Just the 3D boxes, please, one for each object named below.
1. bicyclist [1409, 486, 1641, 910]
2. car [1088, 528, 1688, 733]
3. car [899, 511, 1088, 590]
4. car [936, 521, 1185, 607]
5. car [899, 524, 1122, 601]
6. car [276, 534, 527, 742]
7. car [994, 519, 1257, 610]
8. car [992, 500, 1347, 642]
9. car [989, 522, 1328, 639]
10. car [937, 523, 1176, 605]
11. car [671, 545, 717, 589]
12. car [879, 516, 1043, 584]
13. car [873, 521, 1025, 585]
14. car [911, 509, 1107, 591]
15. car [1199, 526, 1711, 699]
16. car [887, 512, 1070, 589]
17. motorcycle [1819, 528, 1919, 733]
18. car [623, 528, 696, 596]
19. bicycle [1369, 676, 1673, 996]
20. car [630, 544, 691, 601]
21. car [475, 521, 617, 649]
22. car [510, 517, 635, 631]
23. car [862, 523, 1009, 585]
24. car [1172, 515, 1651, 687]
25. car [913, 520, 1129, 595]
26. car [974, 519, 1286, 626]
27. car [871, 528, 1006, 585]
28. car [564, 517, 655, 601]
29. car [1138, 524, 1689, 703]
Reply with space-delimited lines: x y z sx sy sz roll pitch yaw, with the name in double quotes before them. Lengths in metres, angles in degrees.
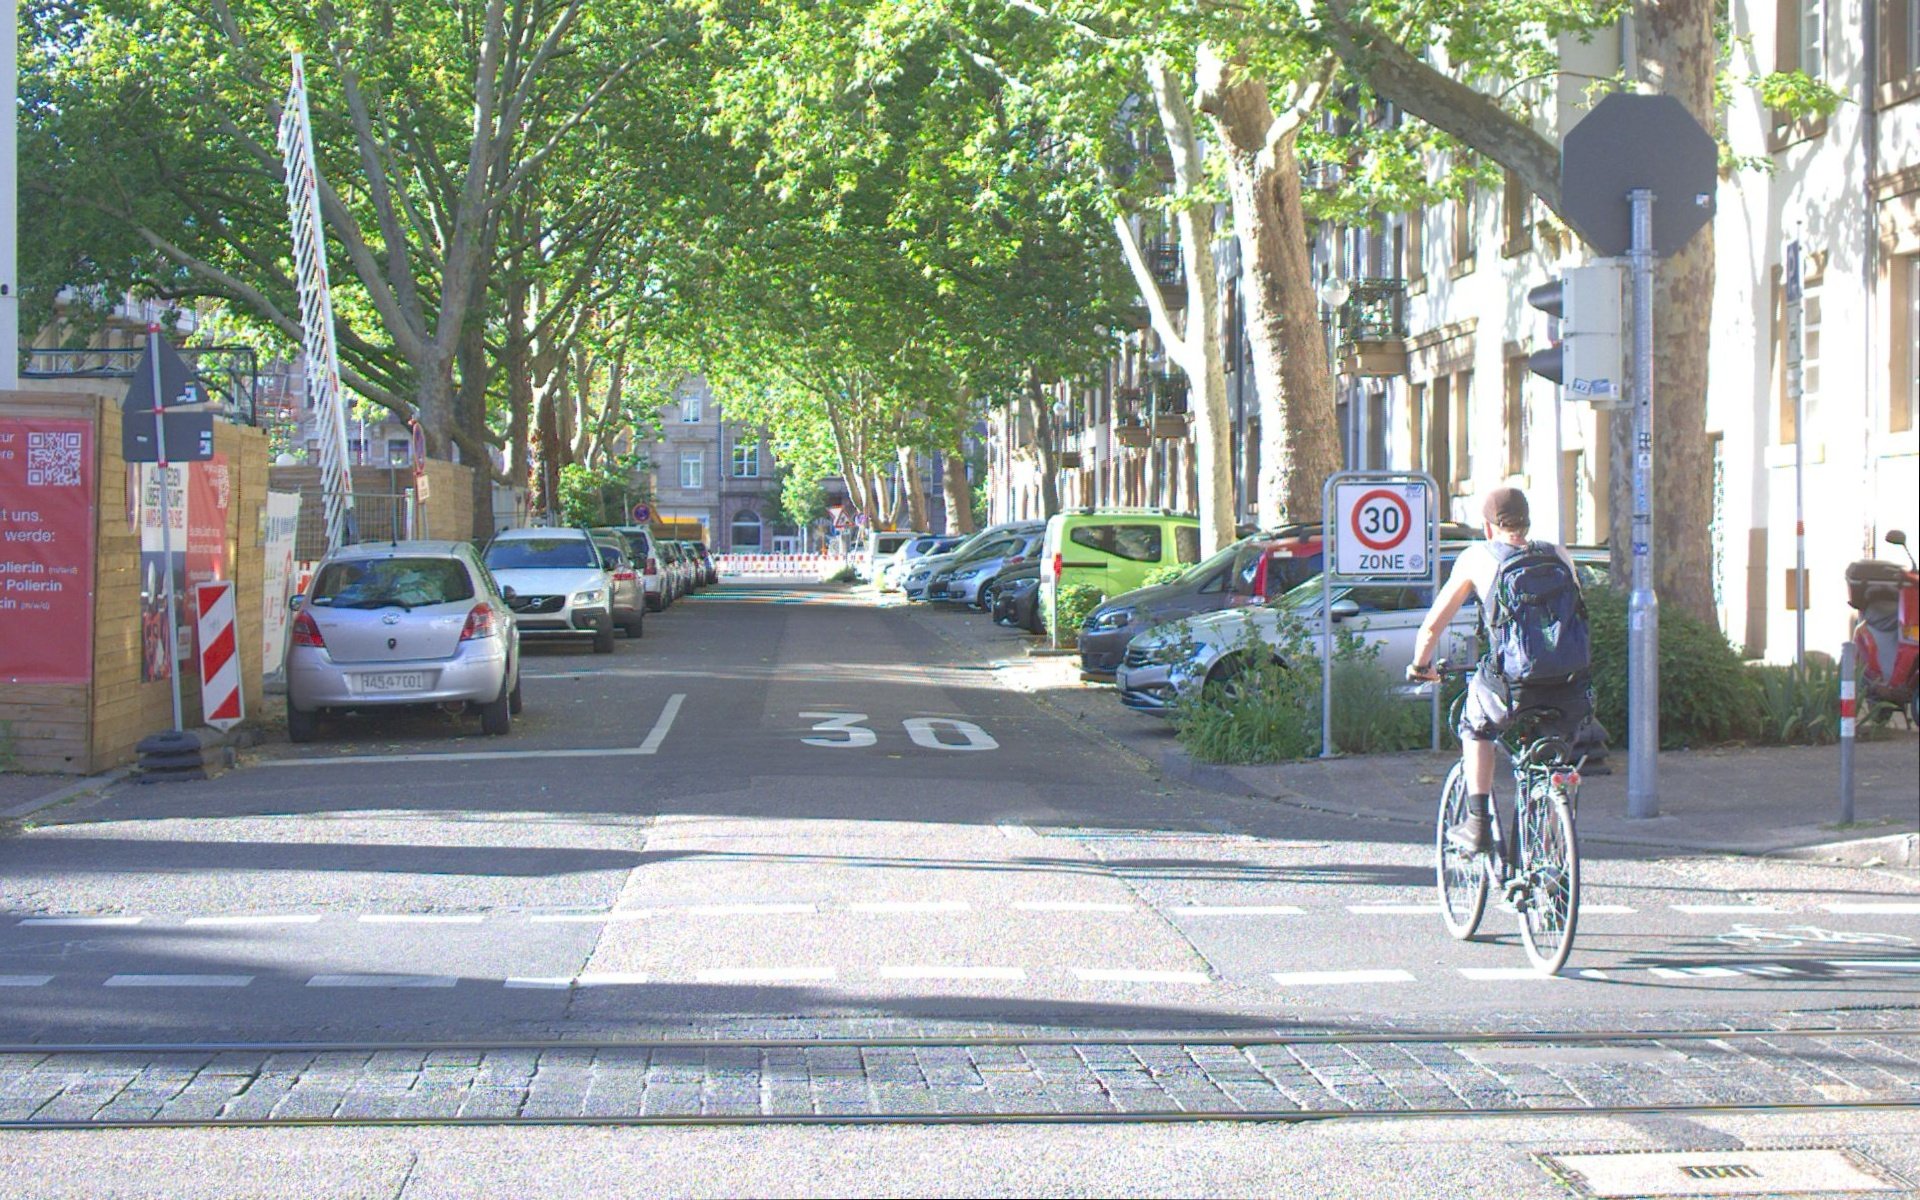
"bicyclist" 2.076 0.347 12.704 0.676 1.508 0.669 2 1 -3
"car" 3.329 0.218 27.237 4.461 1.565 1.729 0 1 -4
"car" 0.796 -1.199 83.358 4.461 1.891 1.728 0 1 -4
"car" 1.842 -0.669 63.737 4.461 1.565 1.729 0 1 -4
"car" 1.019 -0.772 70.950 4.461 1.565 1.729 0 1 -4
"car" -4.435 0.247 27.784 1.643 1.489 4.001 -2 1 -5
"car" 2.888 -0.631 60.580 4.461 1.565 1.729 0 1 -4
"car" 2.714 -0.390 45.196 4.461 1.830 1.729 0 1 -4
"car" 2.694 -0.282 47.217 4.461 1.565 1.729 0 1 -4
"car" 1.834 -0.698 66.215 4.461 1.565 1.729 0 1 -4
"car" -9.834 -1.223 126.822 1.665 1.557 4.220 0 1 -5
"car" 0.014 -1.403 96.153 4.461 1.891 1.728 0 1 -4
"car" -0.353 -1.415 103.576 4.461 1.891 1.728 0 1 -4
"car" 1.131 -1.168 80.602 4.461 1.891 1.728 0 1 -4
"car" 4.570 0.094 32.129 4.461 1.565 1.729 0 1 -4
"car" 0.441 -1.247 86.214 4.461 1.891 1.728 0 1 -4
"motorcycle" 6.358 0.181 23.222 0.513 1.328 1.764 0 1 -5
"car" -7.047 -0.909 80.727 1.665 1.557 4.281 0 1 -5
"bicycle" 2.053 0.839 12.838 0.689 1.013 1.908 2 1 -3
"car" -8.466 -0.806 97.264 1.665 1.557 4.220 0 1 -5
"car" -5.253 -0.221 43.943 1.665 1.557 4.001 0 1 -5
"car" -5.528 -0.403 49.466 1.665 1.557 4.520 0 1 -5
"car" -0.766 -1.426 106.607 4.461 1.891 1.728 0 1 -4
"car" 4.444 -0.010 34.211 4.461 1.665 1.728 0 1 -4
"car" 1.271 -0.909 73.282 4.461 1.565 1.729 0 1 -4
"car" 2.497 -0.421 51.163 4.461 1.565 1.729 0 1 -4
"car" -0.735 -1.480 115.751 4.461 1.891 1.728 0 1 -4
"car" -6.718 -0.808 66.177 1.665 1.557 4.617 0 1 -5
"car" 3.864 0.094 29.722 4.461 1.495 1.729 0 1 -4
